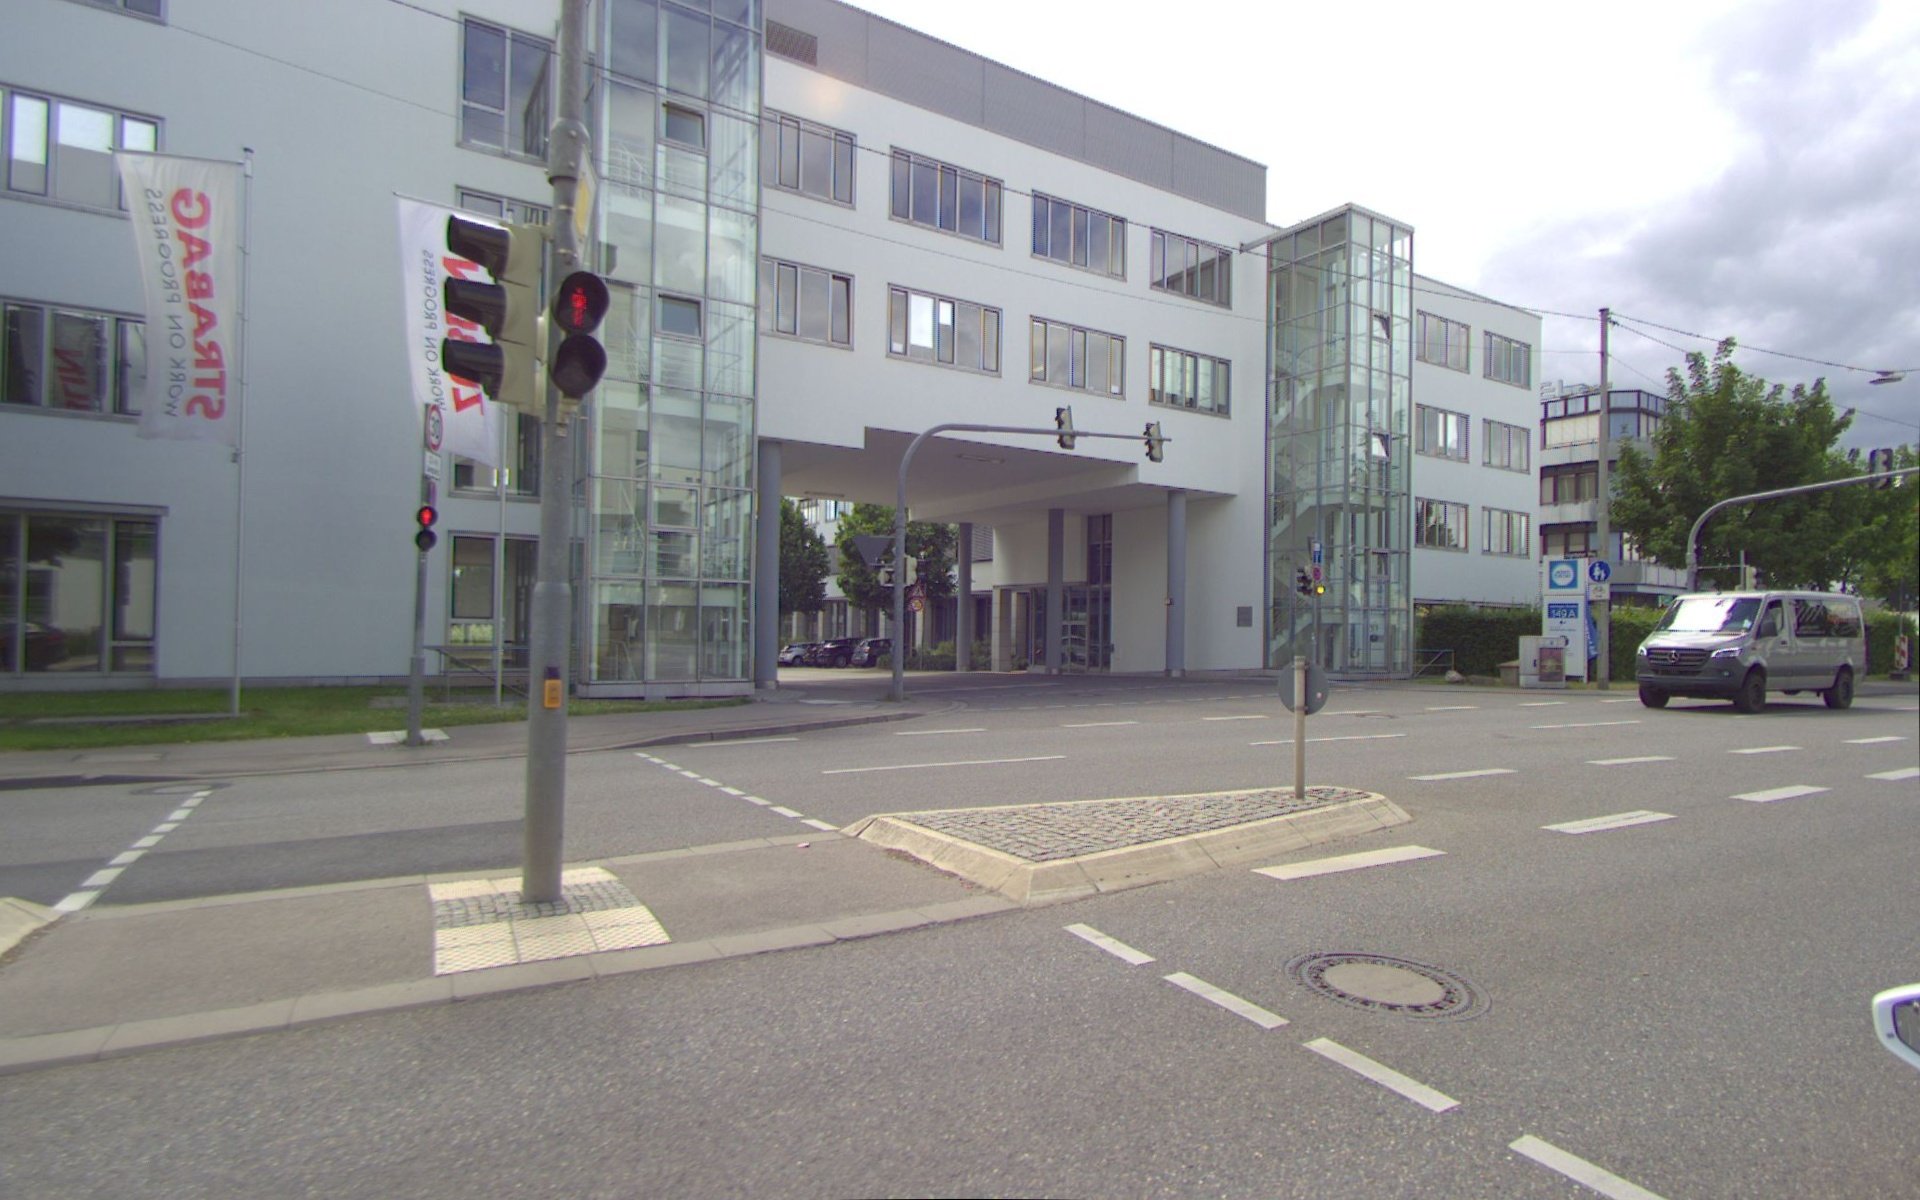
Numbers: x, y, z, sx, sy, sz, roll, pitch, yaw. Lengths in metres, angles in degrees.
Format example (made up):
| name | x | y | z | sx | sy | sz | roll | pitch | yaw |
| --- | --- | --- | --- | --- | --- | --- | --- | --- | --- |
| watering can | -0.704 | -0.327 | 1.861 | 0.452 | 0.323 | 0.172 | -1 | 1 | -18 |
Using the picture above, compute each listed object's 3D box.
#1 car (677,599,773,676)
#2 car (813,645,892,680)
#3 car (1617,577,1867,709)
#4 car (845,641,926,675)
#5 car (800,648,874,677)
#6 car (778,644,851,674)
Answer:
| name | x | y | z | sx | sy | sz | roll | pitch | yaw |
| --- | --- | --- | --- | --- | --- | --- | --- | --- | --- |
| car | -6.508 | 1.117 | 28.351 | 2.046 | 1.892 | 4.832 | 3 | -4 | -7 |
| car | -5.768 | 3.325 | 54.091 | 3.856 | 1.773 | 1.778 | 2 | -1 | -30 |
| car | 16.766 | 0.939 | 21.453 | 6.002 | 2.504 | 2.133 | 2 | -3 | -30 |
| car | -3.863 | 2.994 | 52.199 | 3.781 | 1.713 | 1.779 | 2 | -1 | -30 |
| car | -6.878 | 3.466 | 56.359 | 3.746 | 1.533 | 1.705 | 2 | -1 | -30 |
| car | -8.753 | 3.552 | 60.488 | 3.953 | 1.731 | 1.984 | 2 | -2 | -30 |
